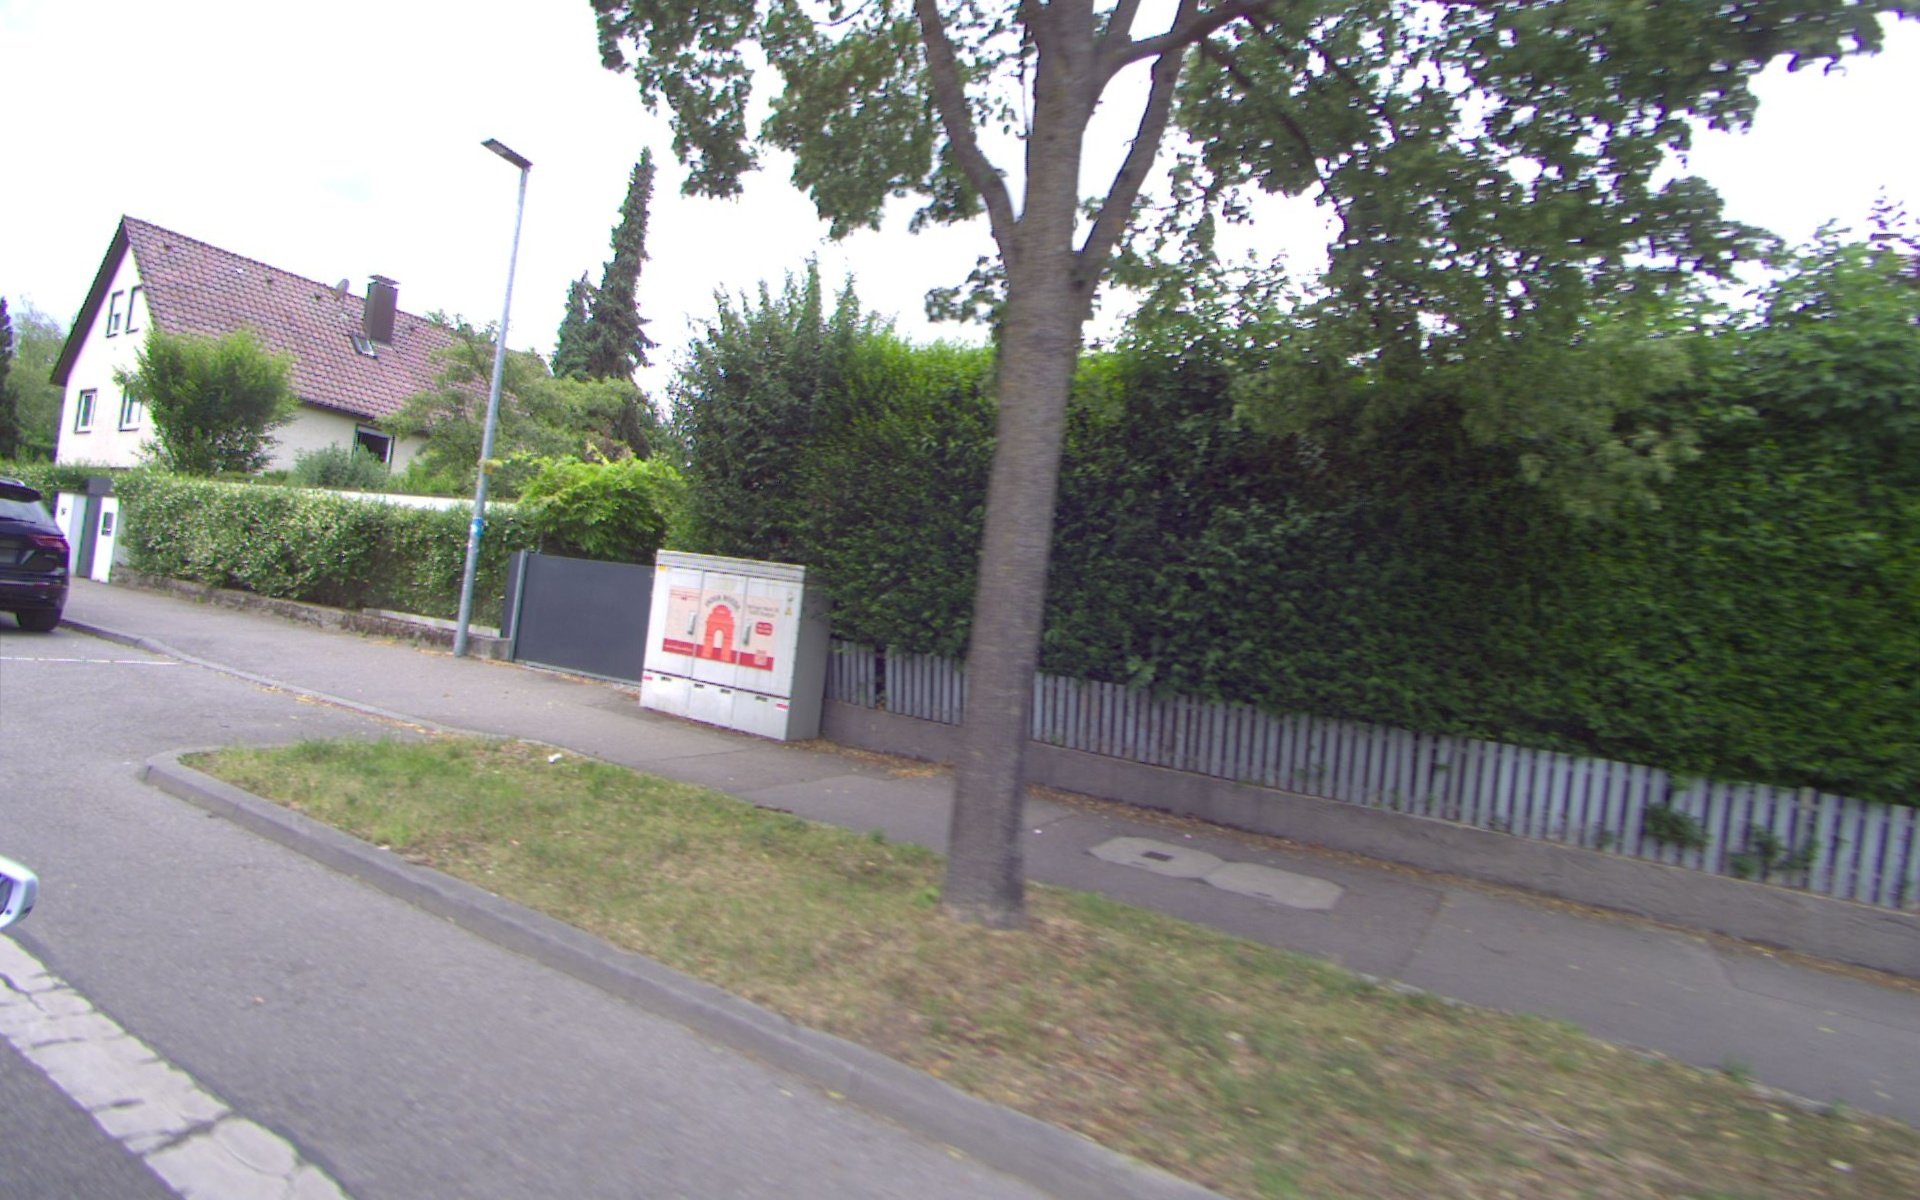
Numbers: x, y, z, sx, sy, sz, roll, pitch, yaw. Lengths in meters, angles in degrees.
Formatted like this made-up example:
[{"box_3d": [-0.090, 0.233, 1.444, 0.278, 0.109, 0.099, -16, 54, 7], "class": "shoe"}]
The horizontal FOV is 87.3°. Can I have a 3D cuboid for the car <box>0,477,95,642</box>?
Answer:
[{"box_3d": [-11.906, -0.670, 11.359, 4.471, 1.655, 1.769, 7, -1, 30], "class": "car"}]
